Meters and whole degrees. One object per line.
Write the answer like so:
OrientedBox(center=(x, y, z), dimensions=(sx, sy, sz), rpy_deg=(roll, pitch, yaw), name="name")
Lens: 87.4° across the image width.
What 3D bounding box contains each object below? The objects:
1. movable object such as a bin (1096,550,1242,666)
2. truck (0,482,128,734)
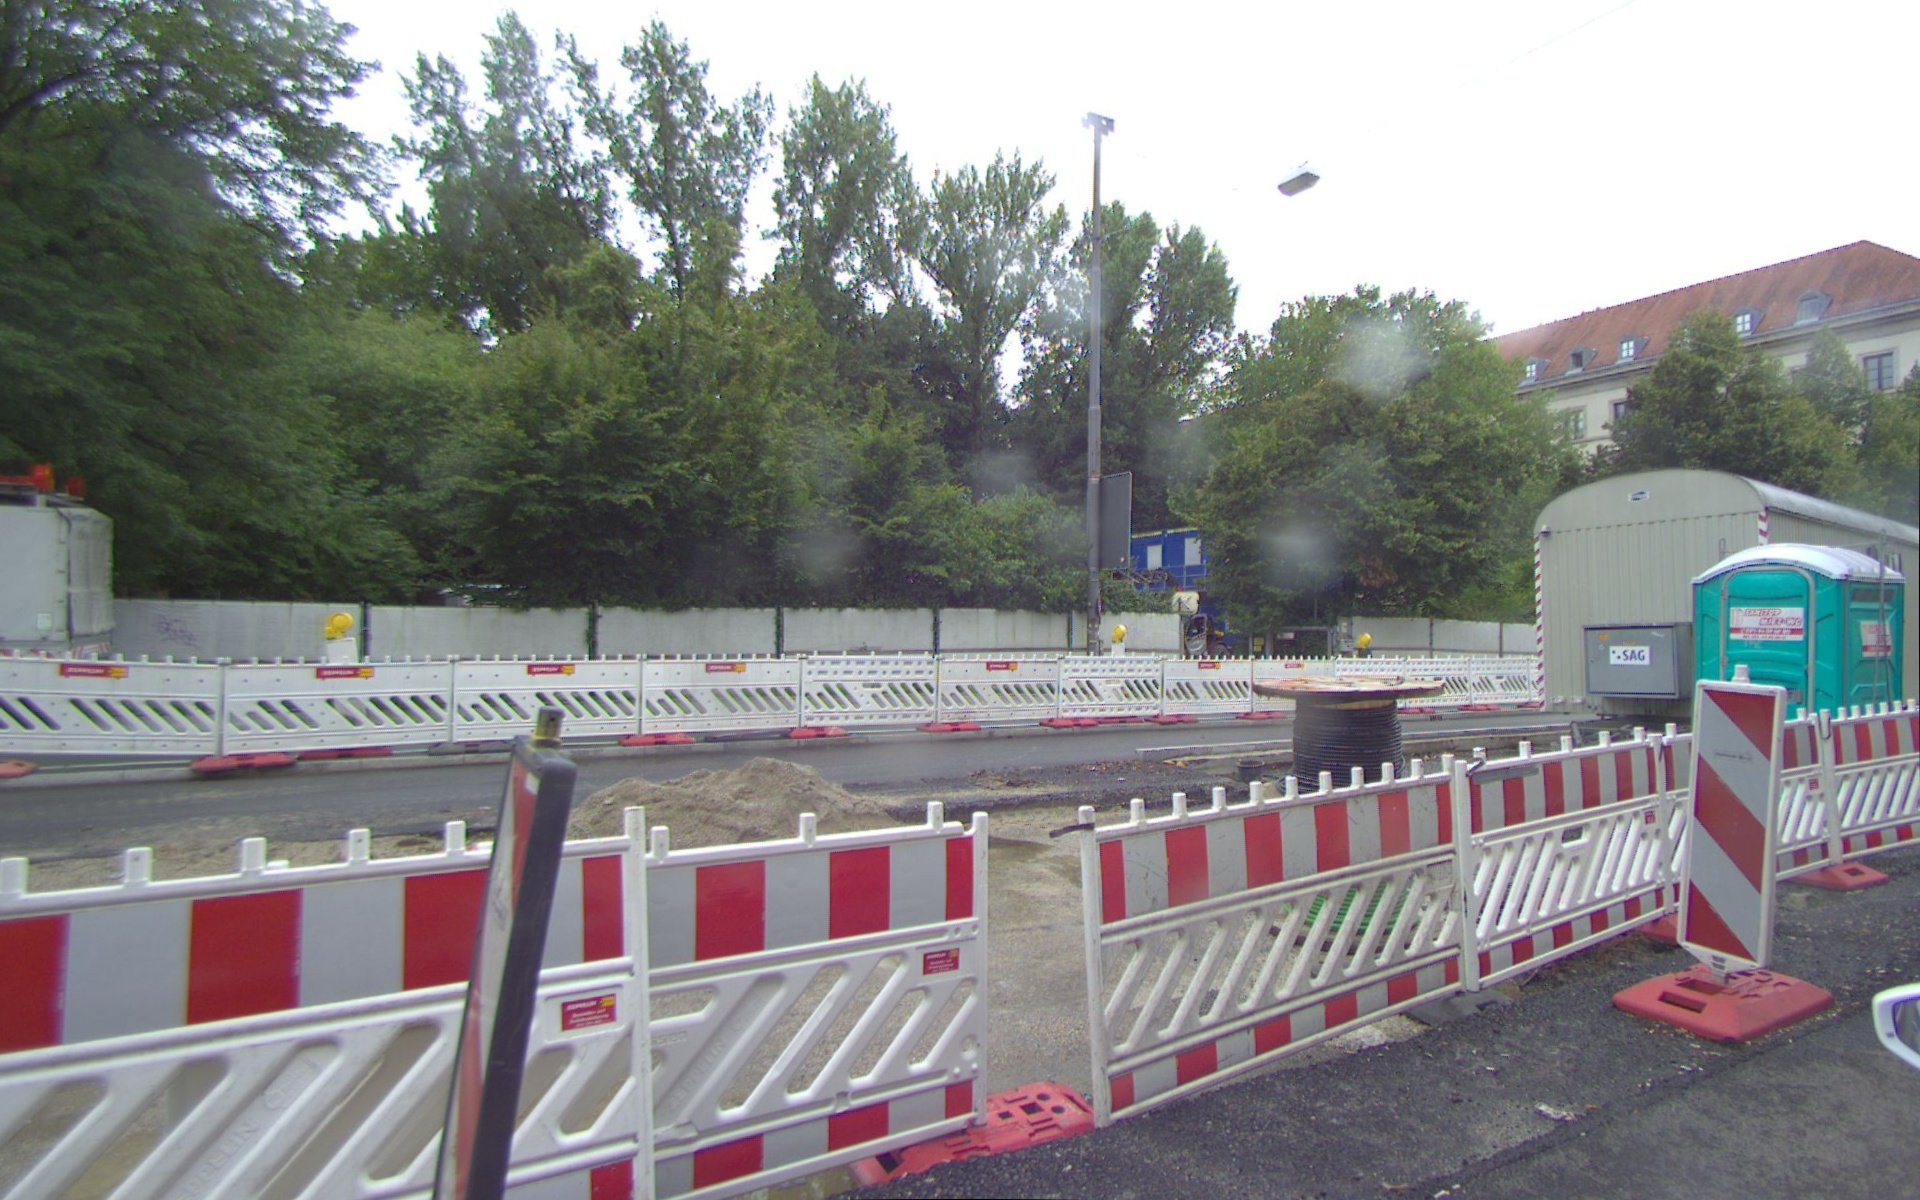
OrientedBox(center=(7.753, 0.380, 37.215), dimensions=(5.009, 4.014, 2.453), rpy_deg=(2, -2, -32), name="movable object such as a bin")
OrientedBox(center=(-13.625, 0.063, 11.316), dimensions=(6.132, 2.886, 2.114), rpy_deg=(1, -2, -28), name="truck")
